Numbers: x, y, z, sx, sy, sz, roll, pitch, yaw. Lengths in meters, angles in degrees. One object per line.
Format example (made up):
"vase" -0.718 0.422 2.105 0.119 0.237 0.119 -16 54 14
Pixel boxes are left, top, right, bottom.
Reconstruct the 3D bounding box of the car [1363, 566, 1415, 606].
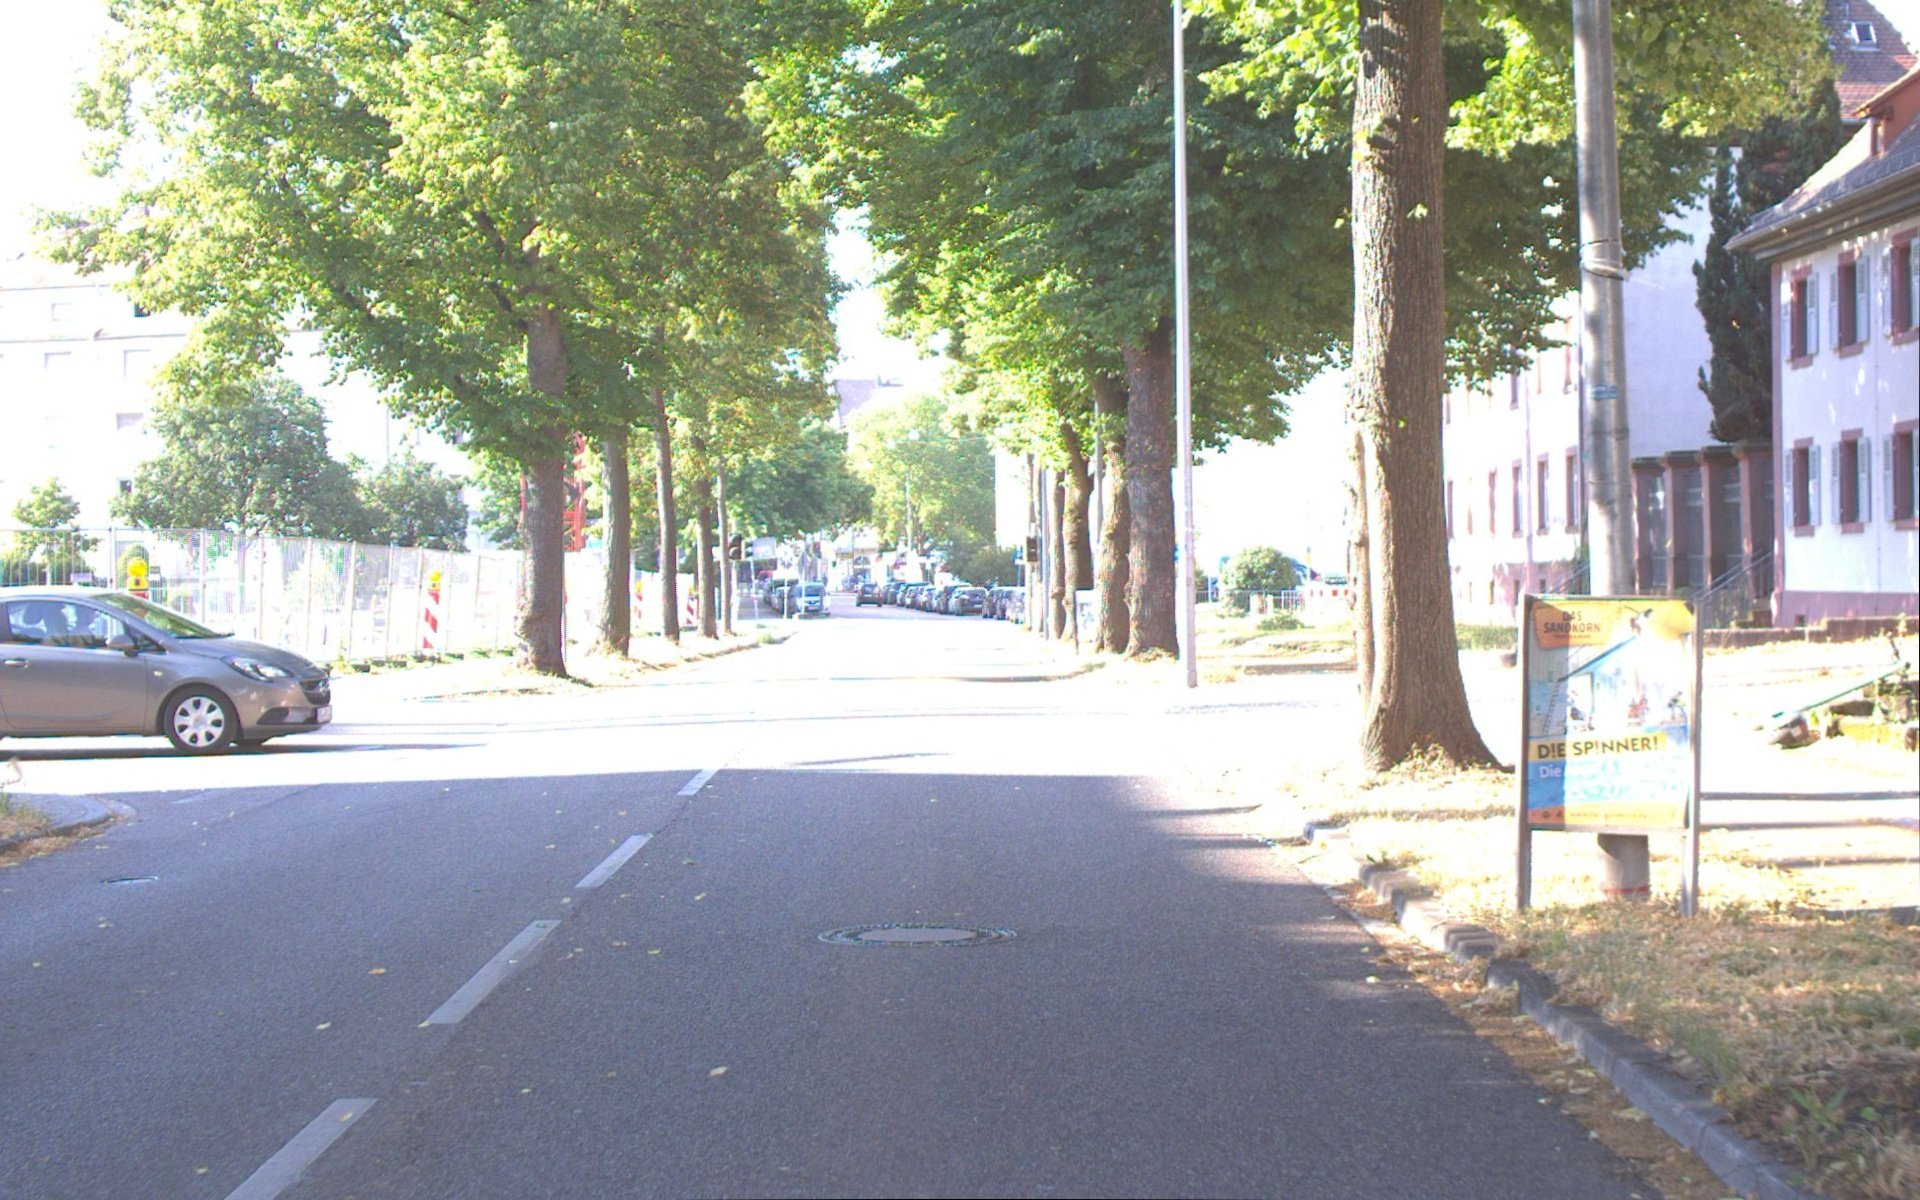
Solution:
"car" 17.803 -0.569 142.911 1.812 1.554 3.625 1 -1 2

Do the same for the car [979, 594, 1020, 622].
"car" 1.876 0.374 165.159 1.841 1.257 4.000 -1 0 -1

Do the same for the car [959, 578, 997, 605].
"car" 0.947 -0.449 183.324 1.841 1.381 4.000 -1 1 -2

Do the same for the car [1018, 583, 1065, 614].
"car" 3.484 -0.070 147.861 1.841 1.257 4.000 -1 0 -1

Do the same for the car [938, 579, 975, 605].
"car" -0.195 -0.438 194.513 1.841 1.381 4.000 -1 0 -4

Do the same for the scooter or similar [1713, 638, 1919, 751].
"scooter or similar" 5.930 0.638 23.584 1.225 0.547 1.064 -9 1 0

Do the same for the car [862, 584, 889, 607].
"car" -5.917 -0.315 239.909 1.714 1.481 4.000 -2 0 -4

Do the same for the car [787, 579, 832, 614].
"car" -7.491 -0.160 170.551 1.993 1.682 4.000 -1 0 -6

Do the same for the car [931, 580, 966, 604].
"car" -0.697 -0.503 206.112 1.841 1.381 4.001 -1 1 -4

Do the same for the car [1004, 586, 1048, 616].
"car" 3.024 0.045 158.111 1.841 1.256 4.000 -3 0 0

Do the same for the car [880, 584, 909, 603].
"car" -4.901 -0.479 256.313 1.841 1.381 4.001 -1 0 -6

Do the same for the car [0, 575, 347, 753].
"car" -7.408 0.544 29.813 3.844 1.468 1.651 -1 1 2

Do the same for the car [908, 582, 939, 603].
"car" -2.406 -0.493 226.799 1.841 1.381 4.000 -1 0 -4
